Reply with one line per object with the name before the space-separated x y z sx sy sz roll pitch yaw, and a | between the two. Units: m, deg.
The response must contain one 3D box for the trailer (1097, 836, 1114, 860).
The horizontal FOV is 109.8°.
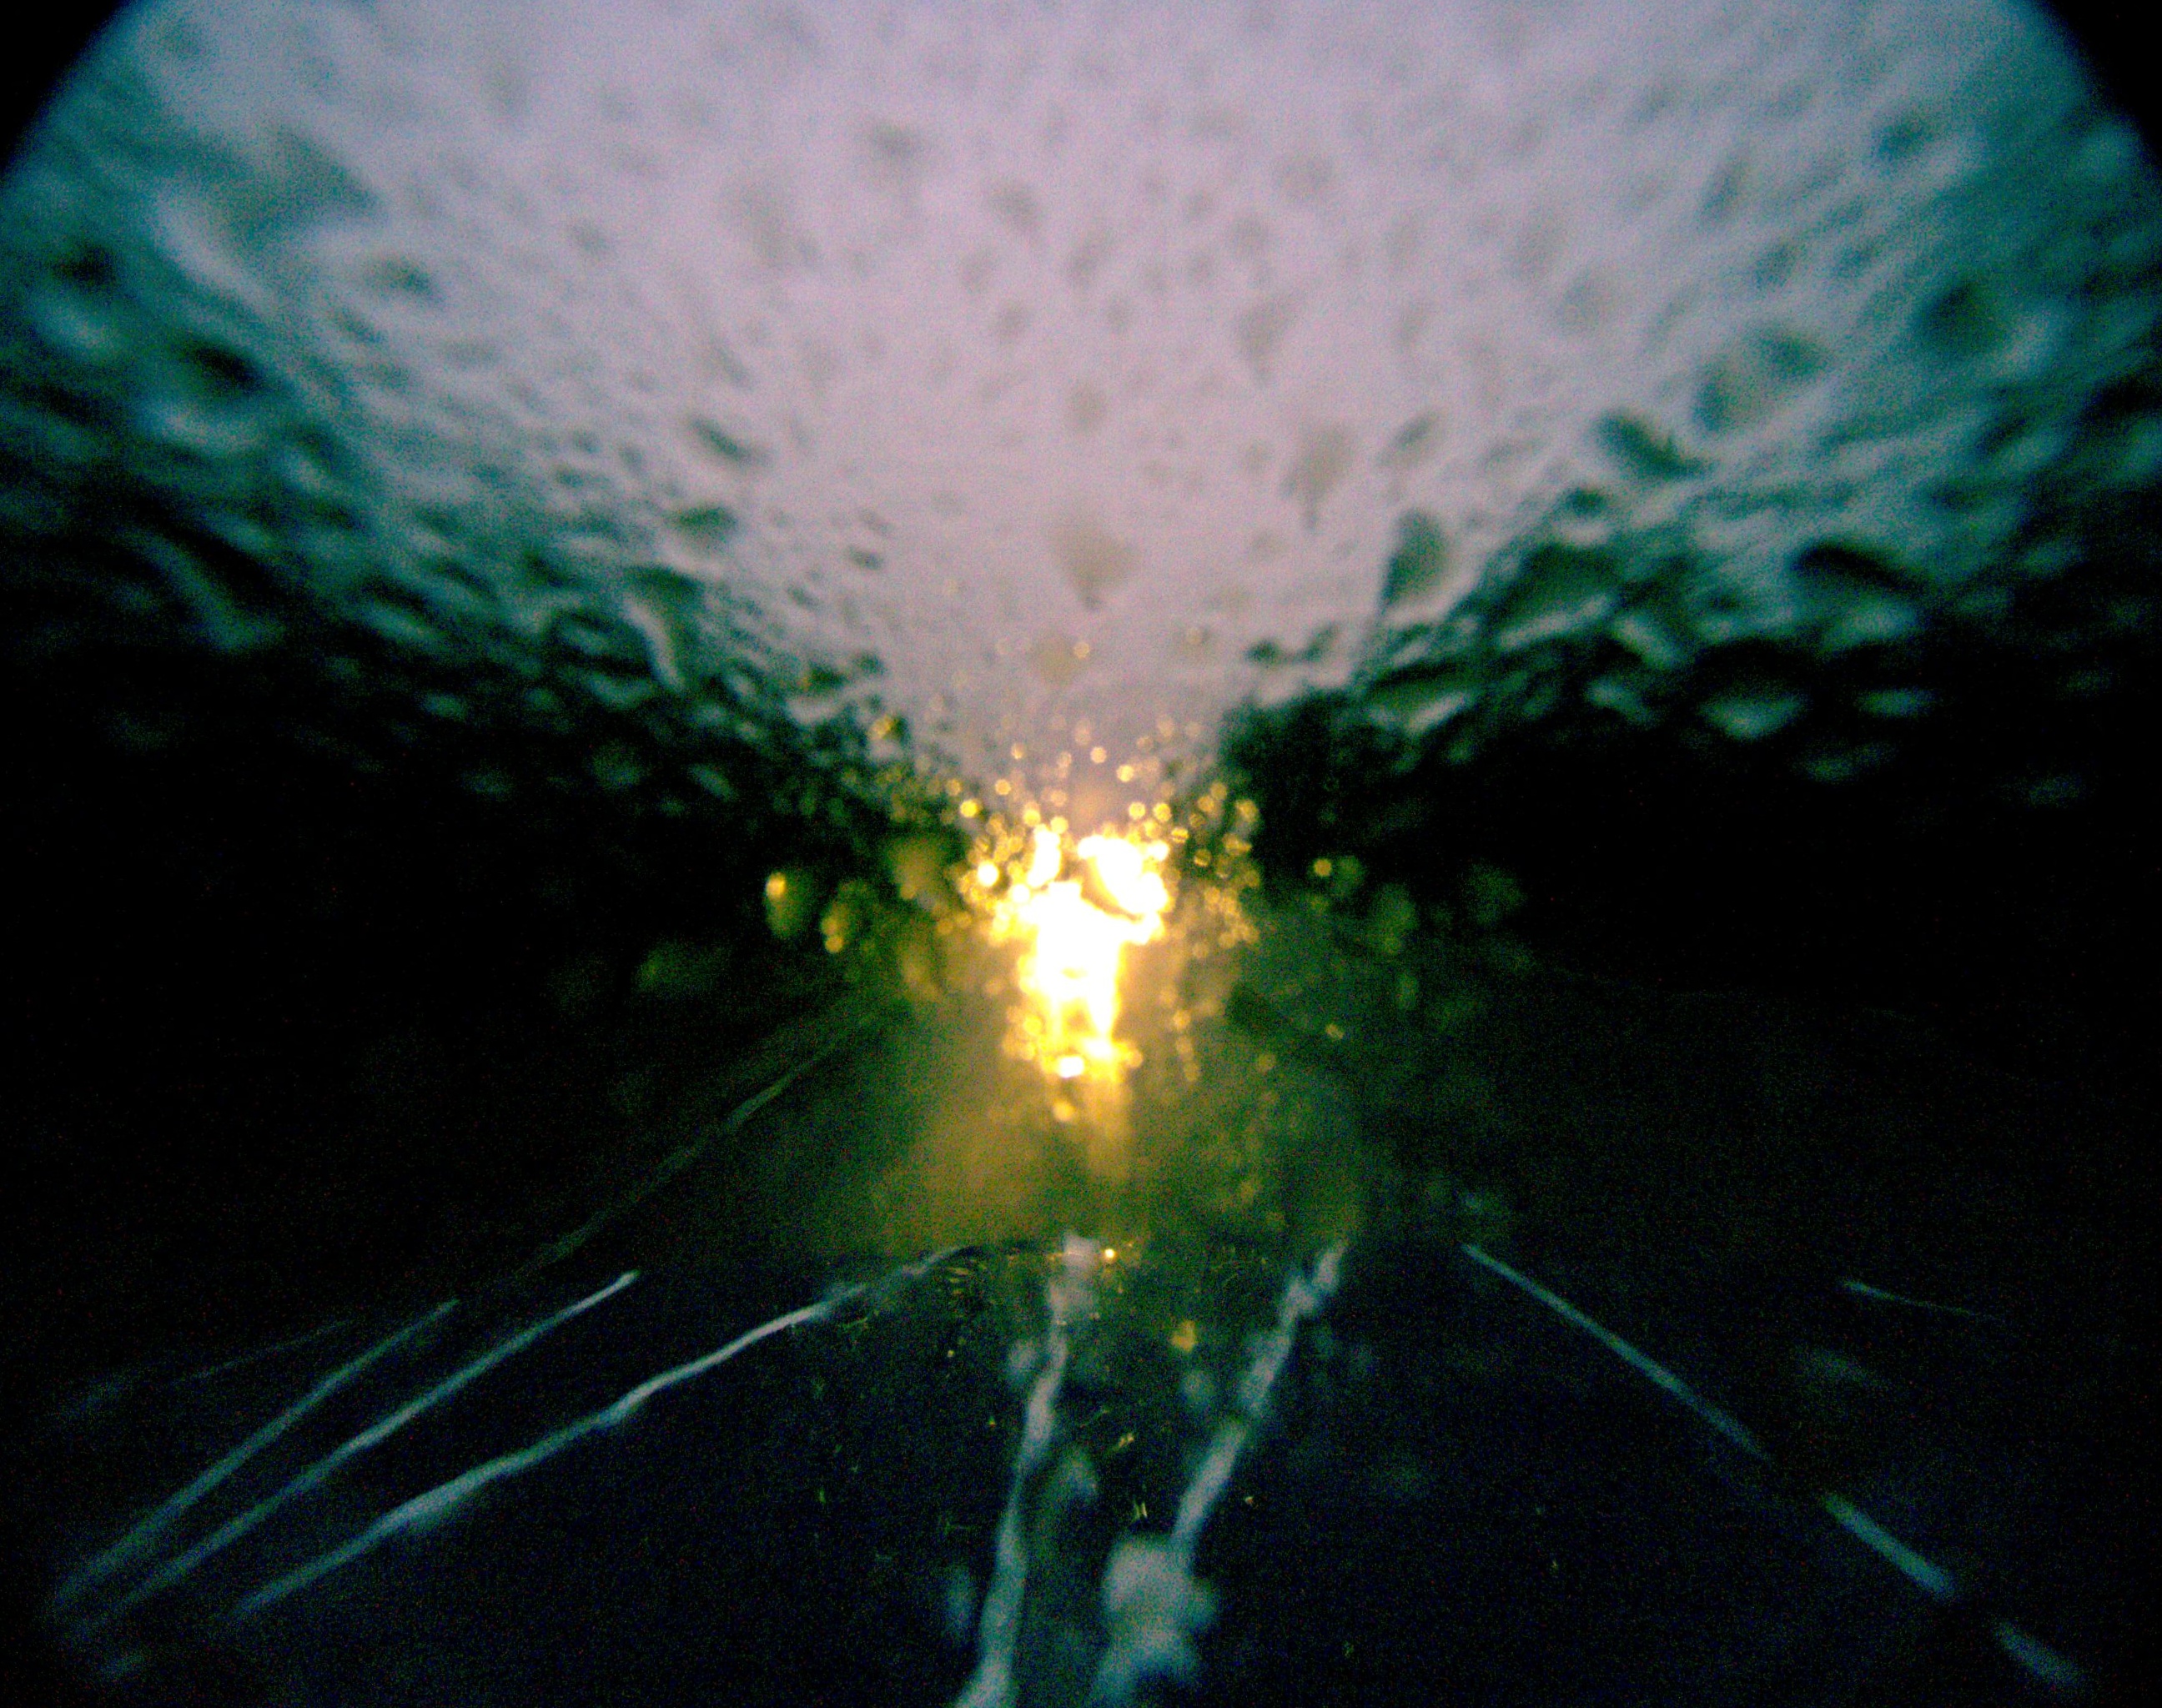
trailer | 4.675 -1.137 146.940 2.677 4.432 12.240 -2 0 0
